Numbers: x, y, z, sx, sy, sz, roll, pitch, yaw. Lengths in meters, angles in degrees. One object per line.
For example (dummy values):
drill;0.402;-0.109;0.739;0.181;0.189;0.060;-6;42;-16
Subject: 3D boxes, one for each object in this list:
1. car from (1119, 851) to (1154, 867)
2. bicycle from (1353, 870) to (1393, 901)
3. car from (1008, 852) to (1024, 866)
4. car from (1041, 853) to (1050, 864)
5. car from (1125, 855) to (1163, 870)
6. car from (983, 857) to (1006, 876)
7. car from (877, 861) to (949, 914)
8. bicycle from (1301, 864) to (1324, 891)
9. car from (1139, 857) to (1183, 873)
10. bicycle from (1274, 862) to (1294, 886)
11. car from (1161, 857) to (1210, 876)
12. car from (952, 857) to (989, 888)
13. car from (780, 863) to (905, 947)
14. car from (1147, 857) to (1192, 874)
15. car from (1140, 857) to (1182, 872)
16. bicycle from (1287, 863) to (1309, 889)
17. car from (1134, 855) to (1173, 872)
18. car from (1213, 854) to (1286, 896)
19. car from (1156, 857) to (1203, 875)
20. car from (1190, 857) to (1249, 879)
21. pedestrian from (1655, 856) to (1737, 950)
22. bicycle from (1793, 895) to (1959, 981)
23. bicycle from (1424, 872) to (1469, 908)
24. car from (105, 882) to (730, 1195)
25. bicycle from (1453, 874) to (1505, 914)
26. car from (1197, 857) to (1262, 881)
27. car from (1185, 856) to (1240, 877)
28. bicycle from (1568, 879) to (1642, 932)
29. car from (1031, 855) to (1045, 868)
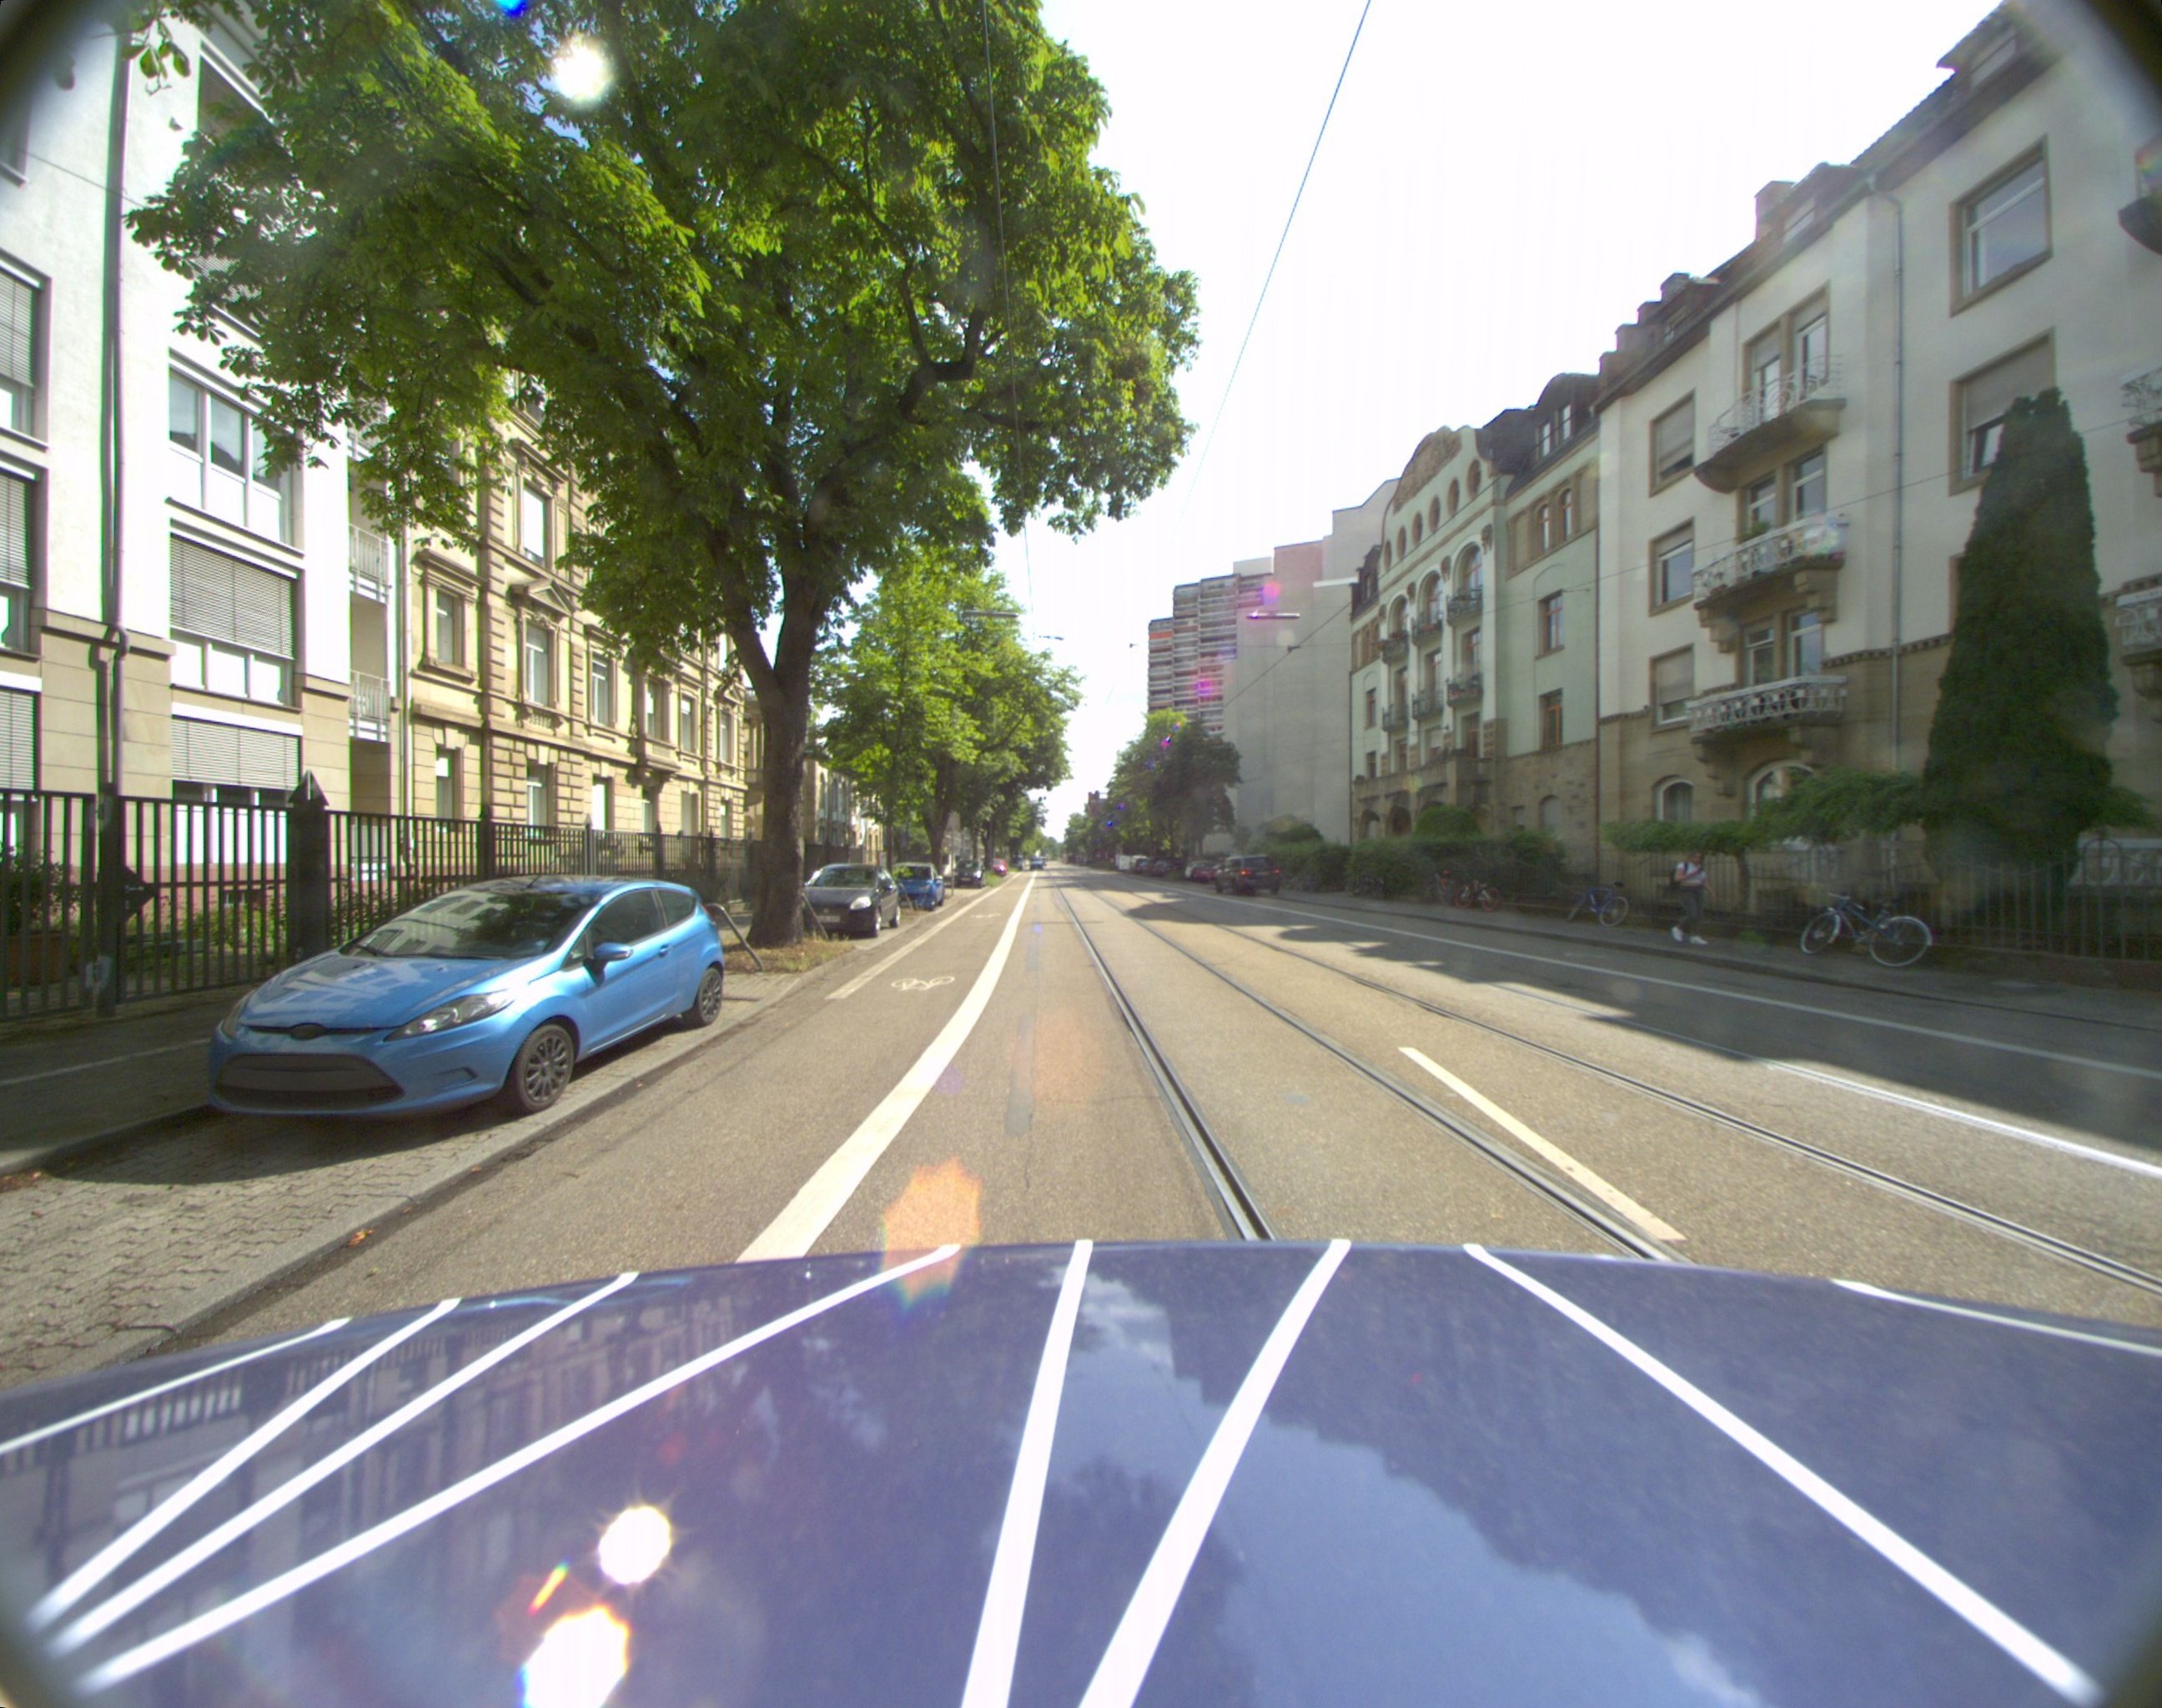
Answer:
car;6.527;0.600;88.862;1.994;1.740;4.008;-1;1;41
bicycle;10.139;1.080;26.437;0.605;0.990;1.981;0;0;-1
car;-7.718;0.606;90.551;1.744;1.564;3.928;2;0;-4
car;-8.624;1.085;184.824;2.146;2.568;4.817;0;0;-2
car;6.939;0.936;83.027;3.994;1.672;2.001;0;0;8
car;-7.462;1.049;65.878;1.744;1.564;3.928;2;0;-4
car;-5.298;1.012;24.339;1.679;1.467;3.659;2;0;-4
bicycle;10.197;1.037;33.548;0.468;1.128;1.787;0;0;-1
car;7.594;1.032;71.966;3.994;1.499;2.001;0;0;8
bicycle;10.020;0.974;37.587;0.468;1.128;1.787;0;0;-1
car;8.582;1.001;62.480;3.994;1.499;2.001;0;0;8
car;-6.175;0.995;42.917;1.744;1.564;3.659;2;0;-4
car;-4.901;0.989;16.124;1.679;1.467;3.659;2;0;-4
car;7.995;1.056;68.756;3.994;1.499;2.001;0;0;8
car;7.927;1.031;75.126;3.994;1.499;2.001;0;0;8
bicycle;10.117;1.017;35.490;0.468;1.128;1.787;0;0;-1
car;7.514;0.952;78.601;3.994;1.672;2.001;0;0;8
car;7.294;0.871;33.413;1.922;1.685;4.400;0;0;-5
car;8.489;1.016;65.636;3.994;1.499;2.001;0;0;8
car;9.576;0.977;52.882;3.994;1.499;2.001;0;0;8
pedestrian;10.320;0.800;12.776;0.759;1.532;0.765;0;0;-2
bicycle;11.106;1.128;10.721;0.467;0.990;1.979;0;0;7
bicycle;10.722;1.044;22.349;0.468;0.990;1.787;0;0;-1
car;-4.319;1.045;5.824;1.647;1.467;3.660;3;0;-3
bicycle;10.681;1.049;20.451;0.468;0.990;1.787;0;0;-1
car;9.605;0.966;49.374;3.994;1.499;2.001;0;0;8
car;9.716;0.896;56.430;3.994;1.499;2.001;0;0;8
bicycle;10.966;1.058;15.966;0.467;0.990;1.787;0;0;5
car;-6.250;1.087;111.451;1.974;1.901;4.817;0;0;-2
